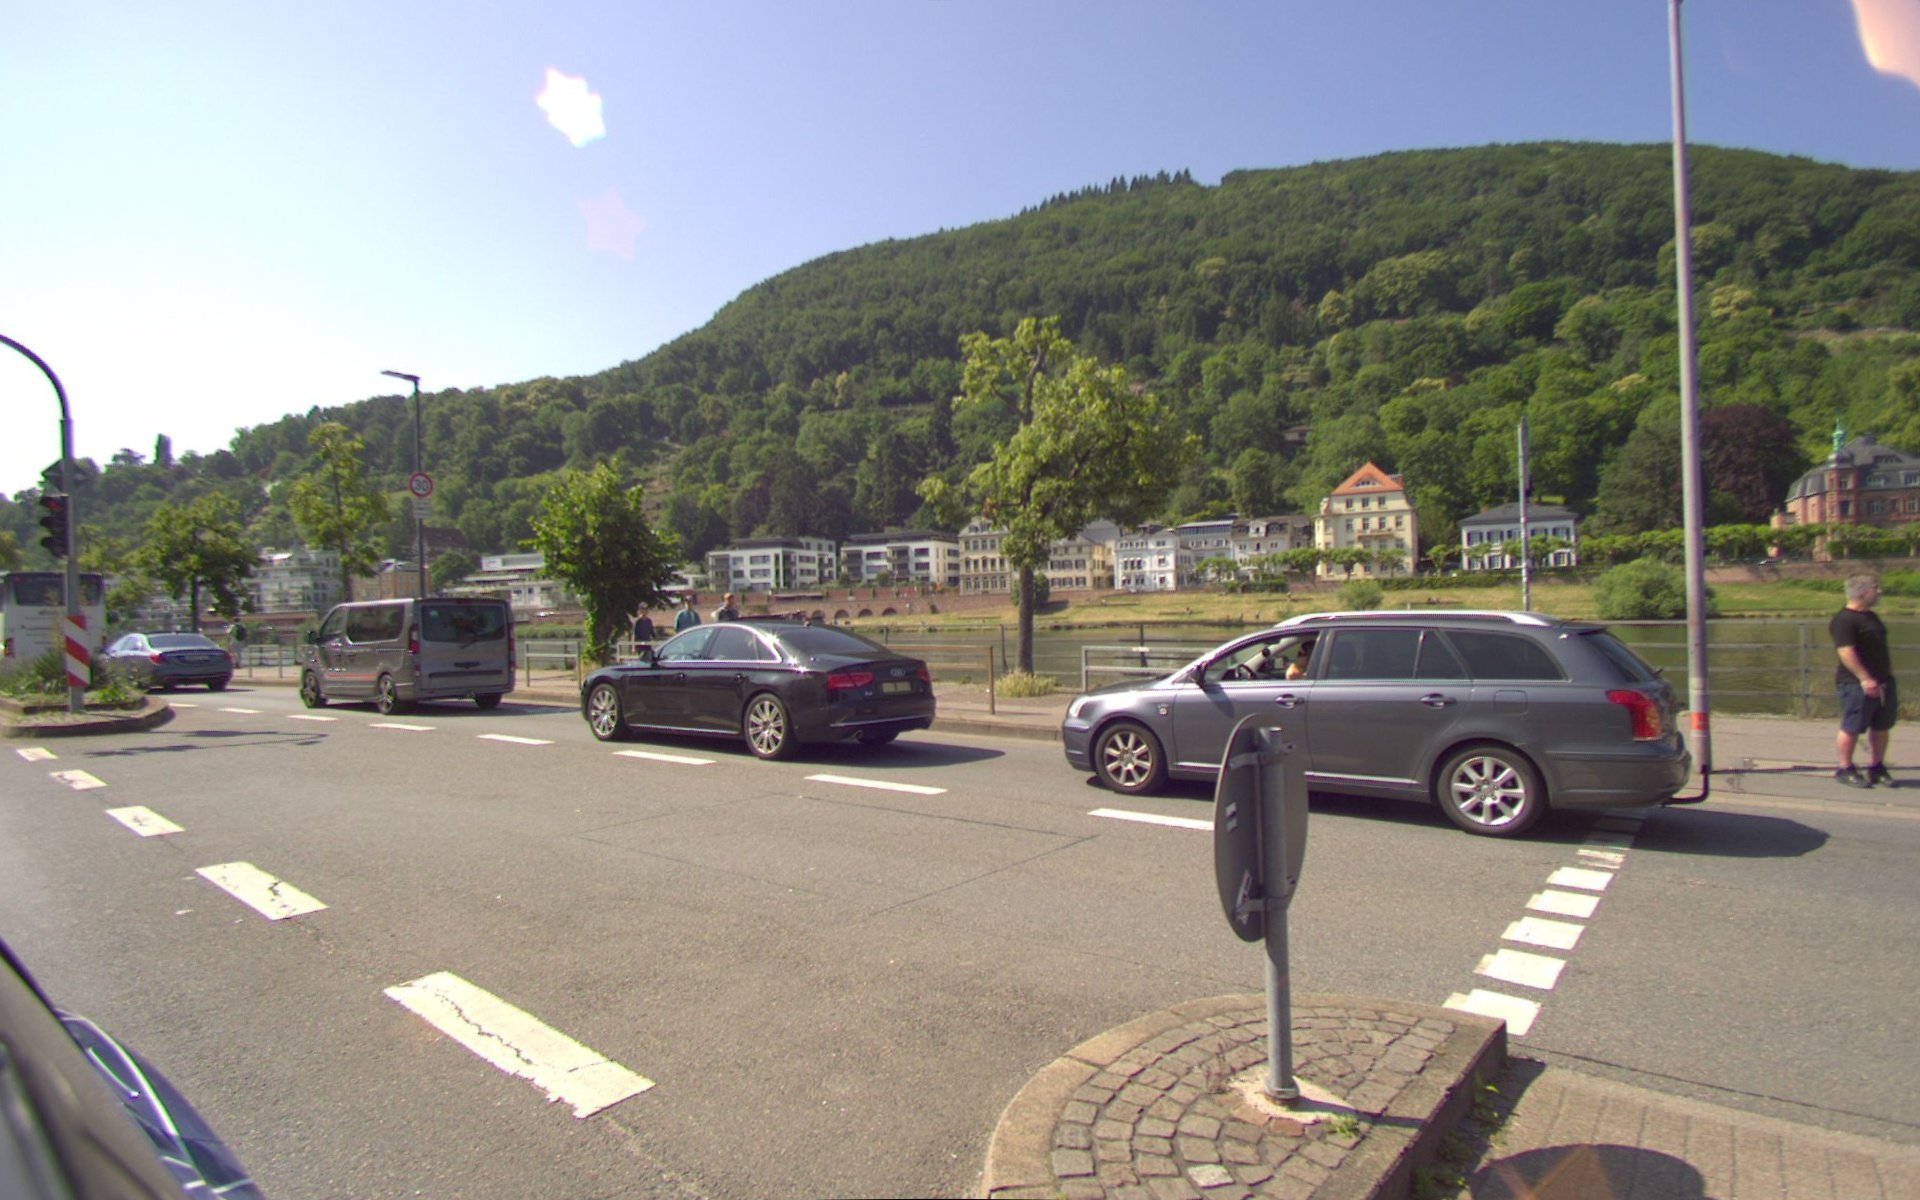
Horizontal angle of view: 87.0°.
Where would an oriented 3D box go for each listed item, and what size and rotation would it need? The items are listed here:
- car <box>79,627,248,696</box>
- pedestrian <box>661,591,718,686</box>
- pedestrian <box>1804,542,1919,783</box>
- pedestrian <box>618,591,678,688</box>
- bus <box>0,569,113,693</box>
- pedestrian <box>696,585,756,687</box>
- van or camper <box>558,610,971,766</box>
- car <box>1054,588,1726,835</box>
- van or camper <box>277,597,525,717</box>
[{"bbox_3d":[-20.433,1.552,25.890,5.144,1.611,1.976,-2,-3,35],"label":"car"},{"bbox_3d":[-5.551,0.776,20.802,0.693,1.871,0.756,-2,2,31],"label":"pedestrian"},{"bbox_3d":[7.306,0.473,8.061,0.761,1.792,0.689,-2,5,31],"label":"pedestrian"},{"bbox_3d":[-6.079,0.755,19.716,0.693,1.817,0.756,-2,2,31],"label":"pedestrian"},{"bbox_3d":[-32.720,1.021,33.814,12.933,3.591,2.612,-1,0,31],"label":"bus"},{"bbox_3d":[-4.450,0.678,19.269,0.693,1.871,0.756,-2,2,31],"label":"pedestrian"},{"bbox_3d":[-2.477,0.909,12.026,5.057,1.488,1.975,-2,-2,37],"label":"van or camper"},{"bbox_3d":[3.183,0.738,8.037,4.564,1.419,1.933,-2,-3,39],"label":"car"},{"bbox_3d":[-10.204,0.978,18.303,5.170,1.887,1.975,-2,-1,37],"label":"van or camper"}]
